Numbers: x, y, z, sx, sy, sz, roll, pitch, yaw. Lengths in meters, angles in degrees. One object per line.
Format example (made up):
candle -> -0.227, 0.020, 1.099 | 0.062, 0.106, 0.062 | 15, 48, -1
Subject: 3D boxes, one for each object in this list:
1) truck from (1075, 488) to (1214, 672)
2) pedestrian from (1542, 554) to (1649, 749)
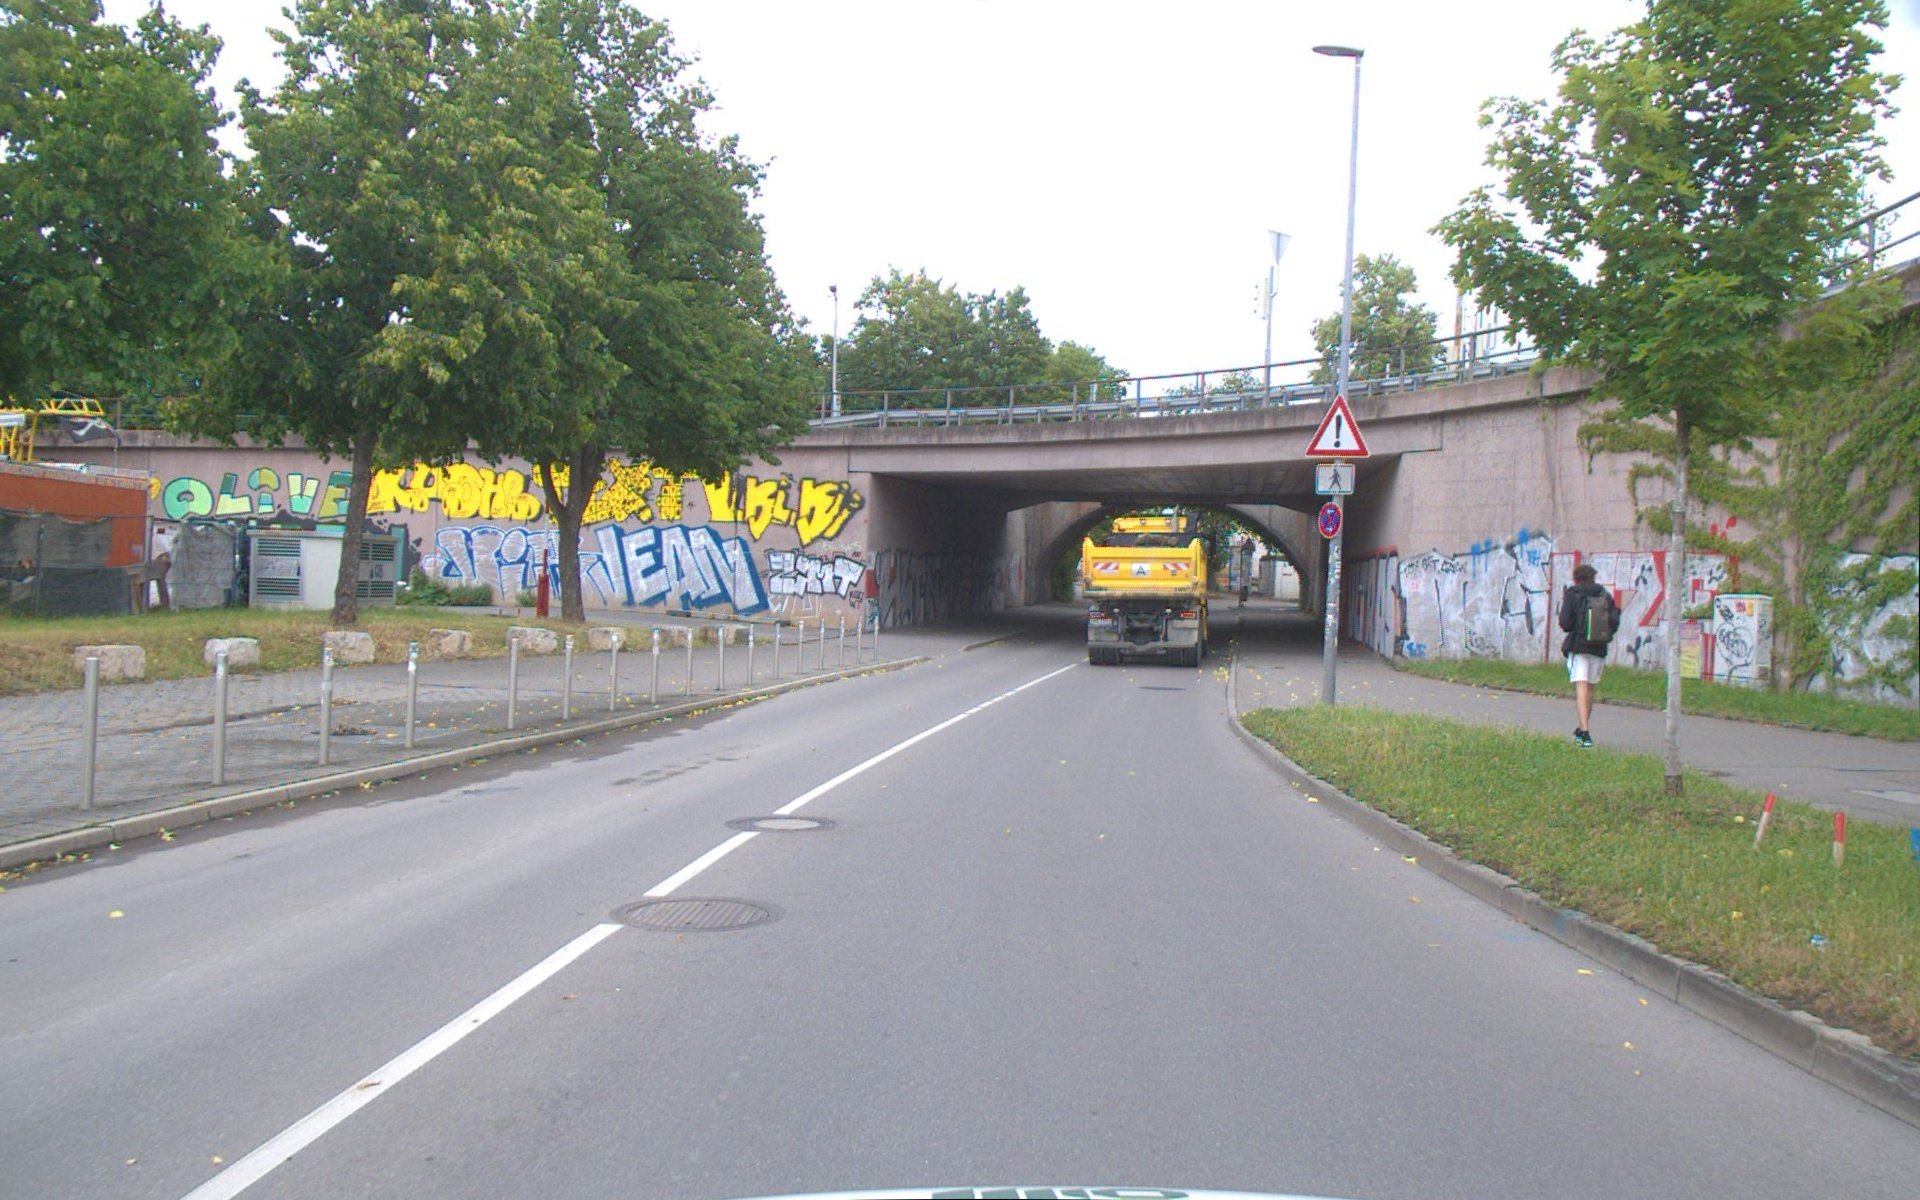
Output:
truck -> 4.489, -0.384, 38.925 | 2.699, 3.763, 7.886 | 3, 0, 9
pedestrian -> 6.541, 0.512, 17.056 | 0.720, 1.940, 0.825 | 2, 0, -1
